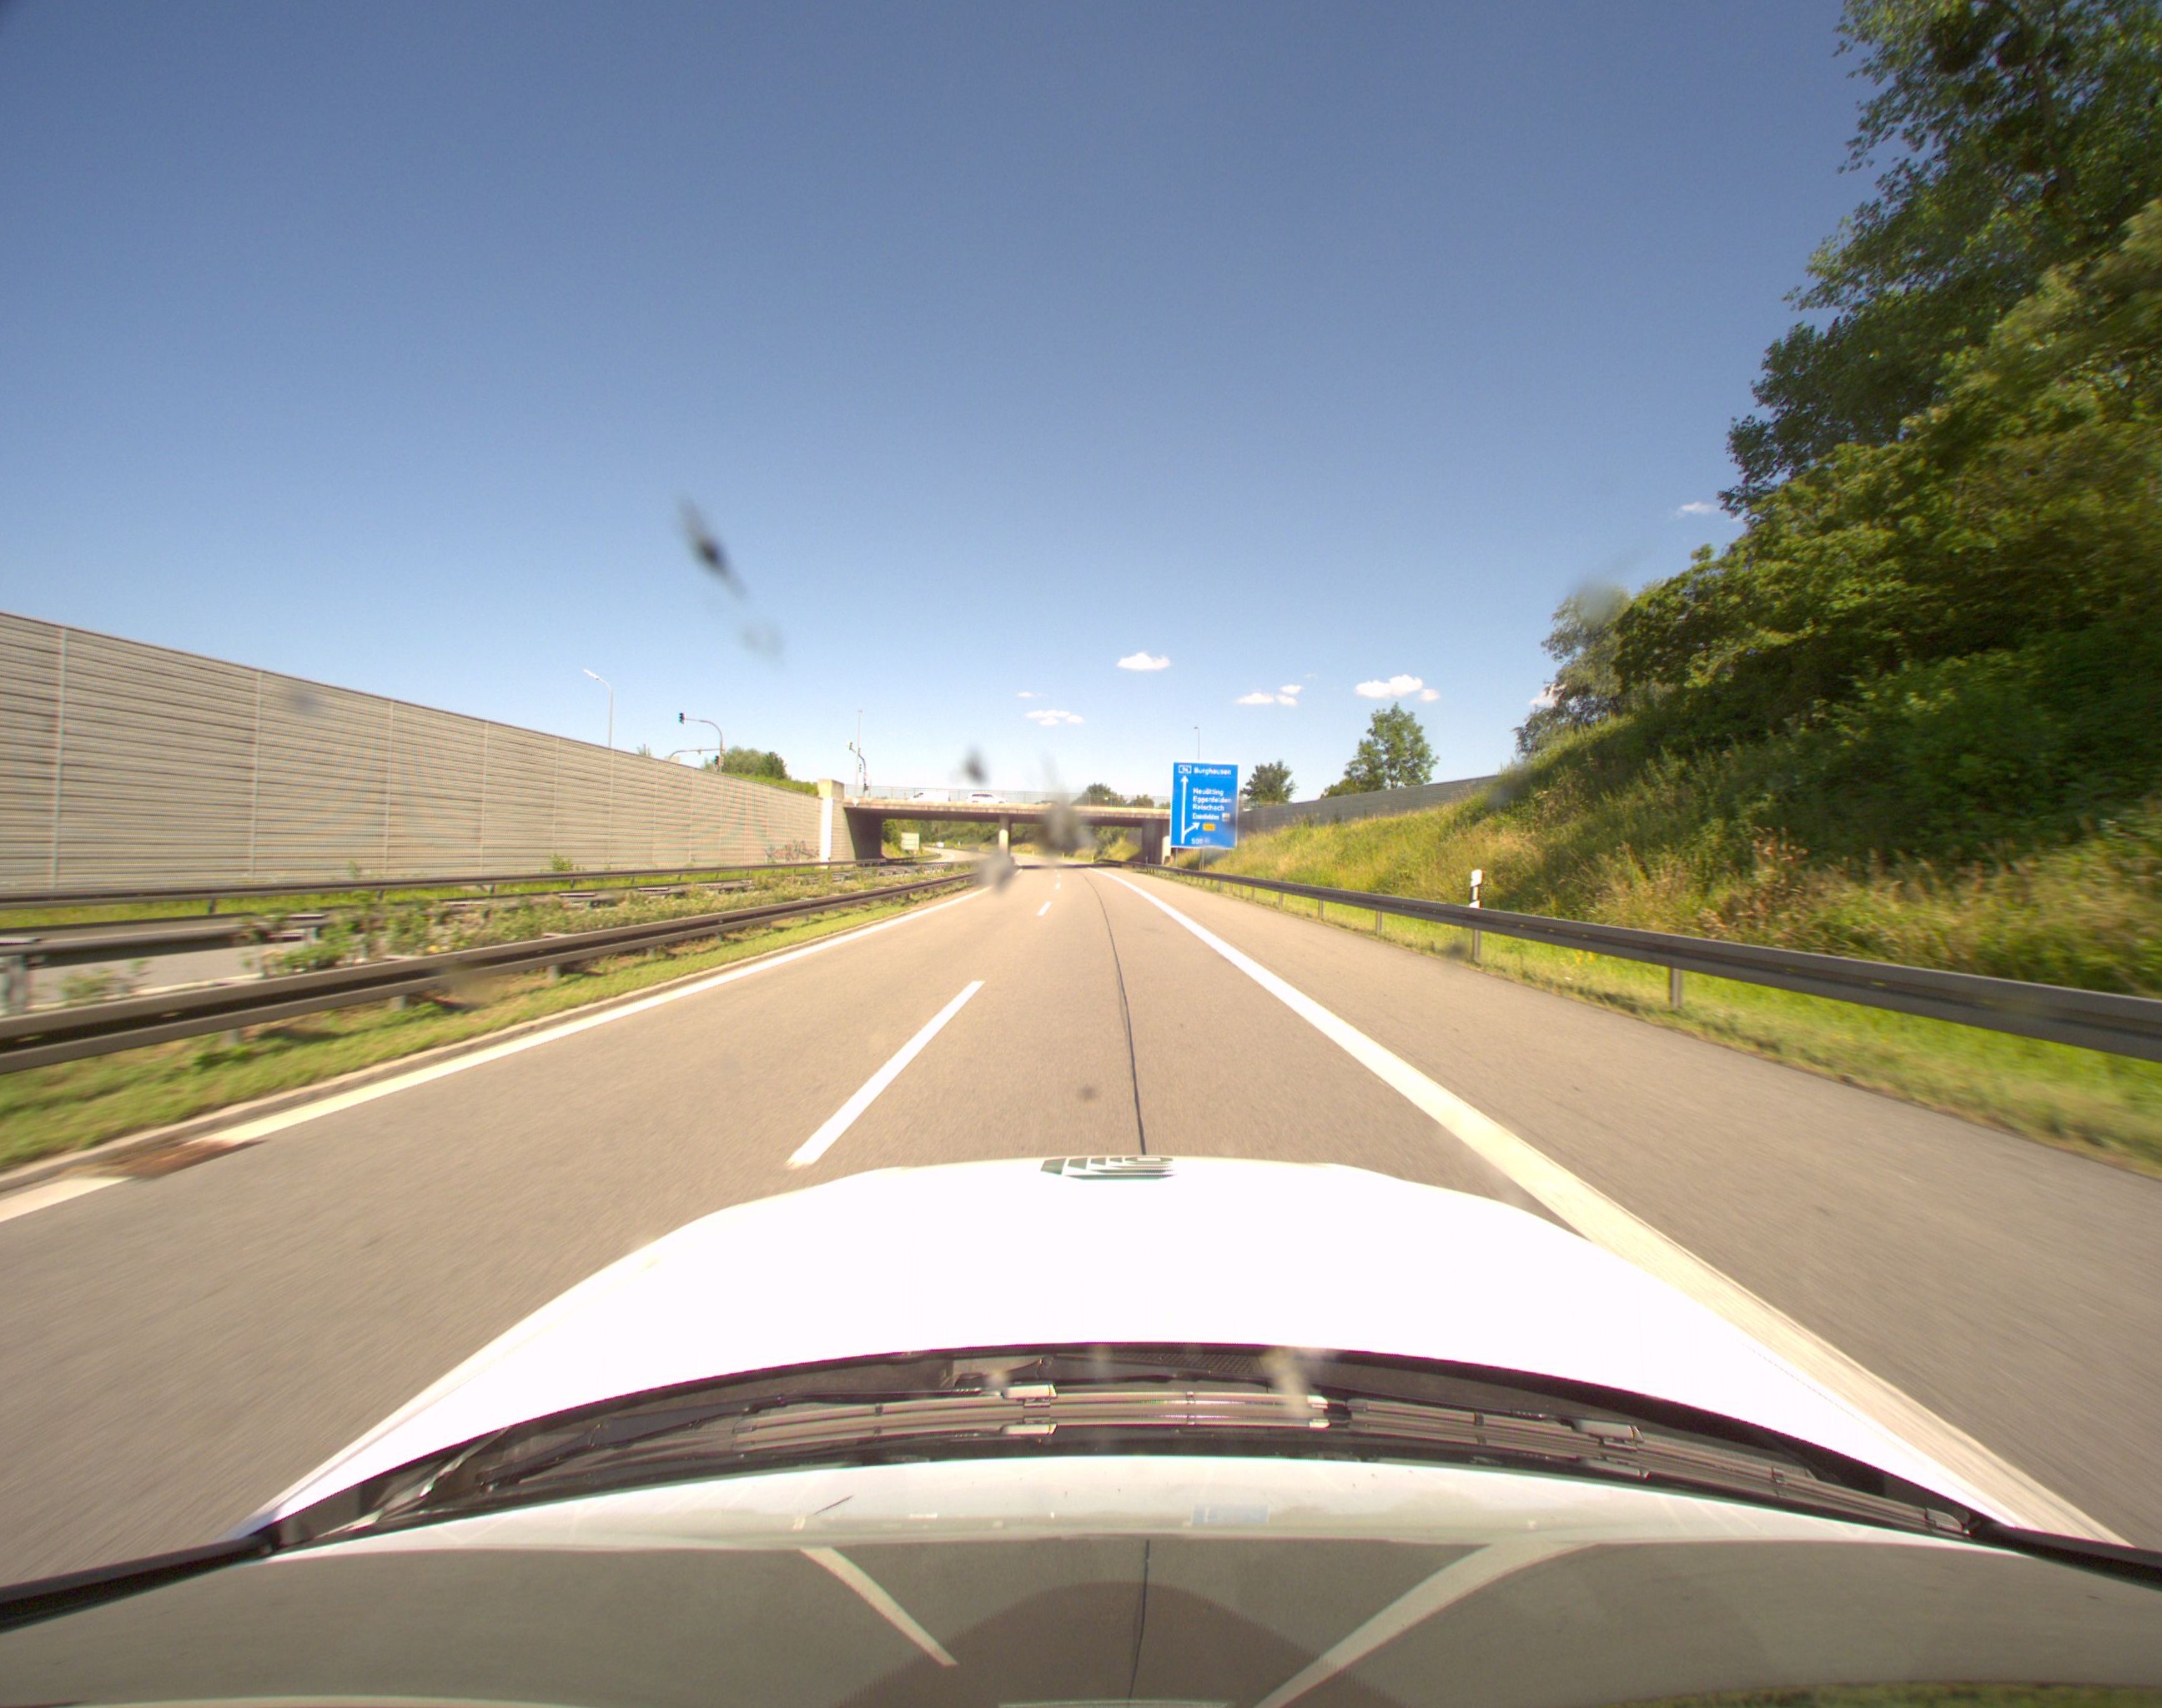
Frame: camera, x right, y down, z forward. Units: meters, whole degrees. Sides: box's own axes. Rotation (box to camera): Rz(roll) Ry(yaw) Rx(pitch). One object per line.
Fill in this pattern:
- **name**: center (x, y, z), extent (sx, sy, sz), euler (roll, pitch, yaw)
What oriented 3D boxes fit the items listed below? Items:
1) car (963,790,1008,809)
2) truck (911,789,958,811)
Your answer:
- **car**: center (-9.738, -5.547, 83.383), extent (4.392, 1.597, 1.997), euler (2, -1, -4)
- **truck**: center (-15.916, -5.839, 88.716), extent (4.851, 2.167, 1.995), euler (0, -1, -7)
